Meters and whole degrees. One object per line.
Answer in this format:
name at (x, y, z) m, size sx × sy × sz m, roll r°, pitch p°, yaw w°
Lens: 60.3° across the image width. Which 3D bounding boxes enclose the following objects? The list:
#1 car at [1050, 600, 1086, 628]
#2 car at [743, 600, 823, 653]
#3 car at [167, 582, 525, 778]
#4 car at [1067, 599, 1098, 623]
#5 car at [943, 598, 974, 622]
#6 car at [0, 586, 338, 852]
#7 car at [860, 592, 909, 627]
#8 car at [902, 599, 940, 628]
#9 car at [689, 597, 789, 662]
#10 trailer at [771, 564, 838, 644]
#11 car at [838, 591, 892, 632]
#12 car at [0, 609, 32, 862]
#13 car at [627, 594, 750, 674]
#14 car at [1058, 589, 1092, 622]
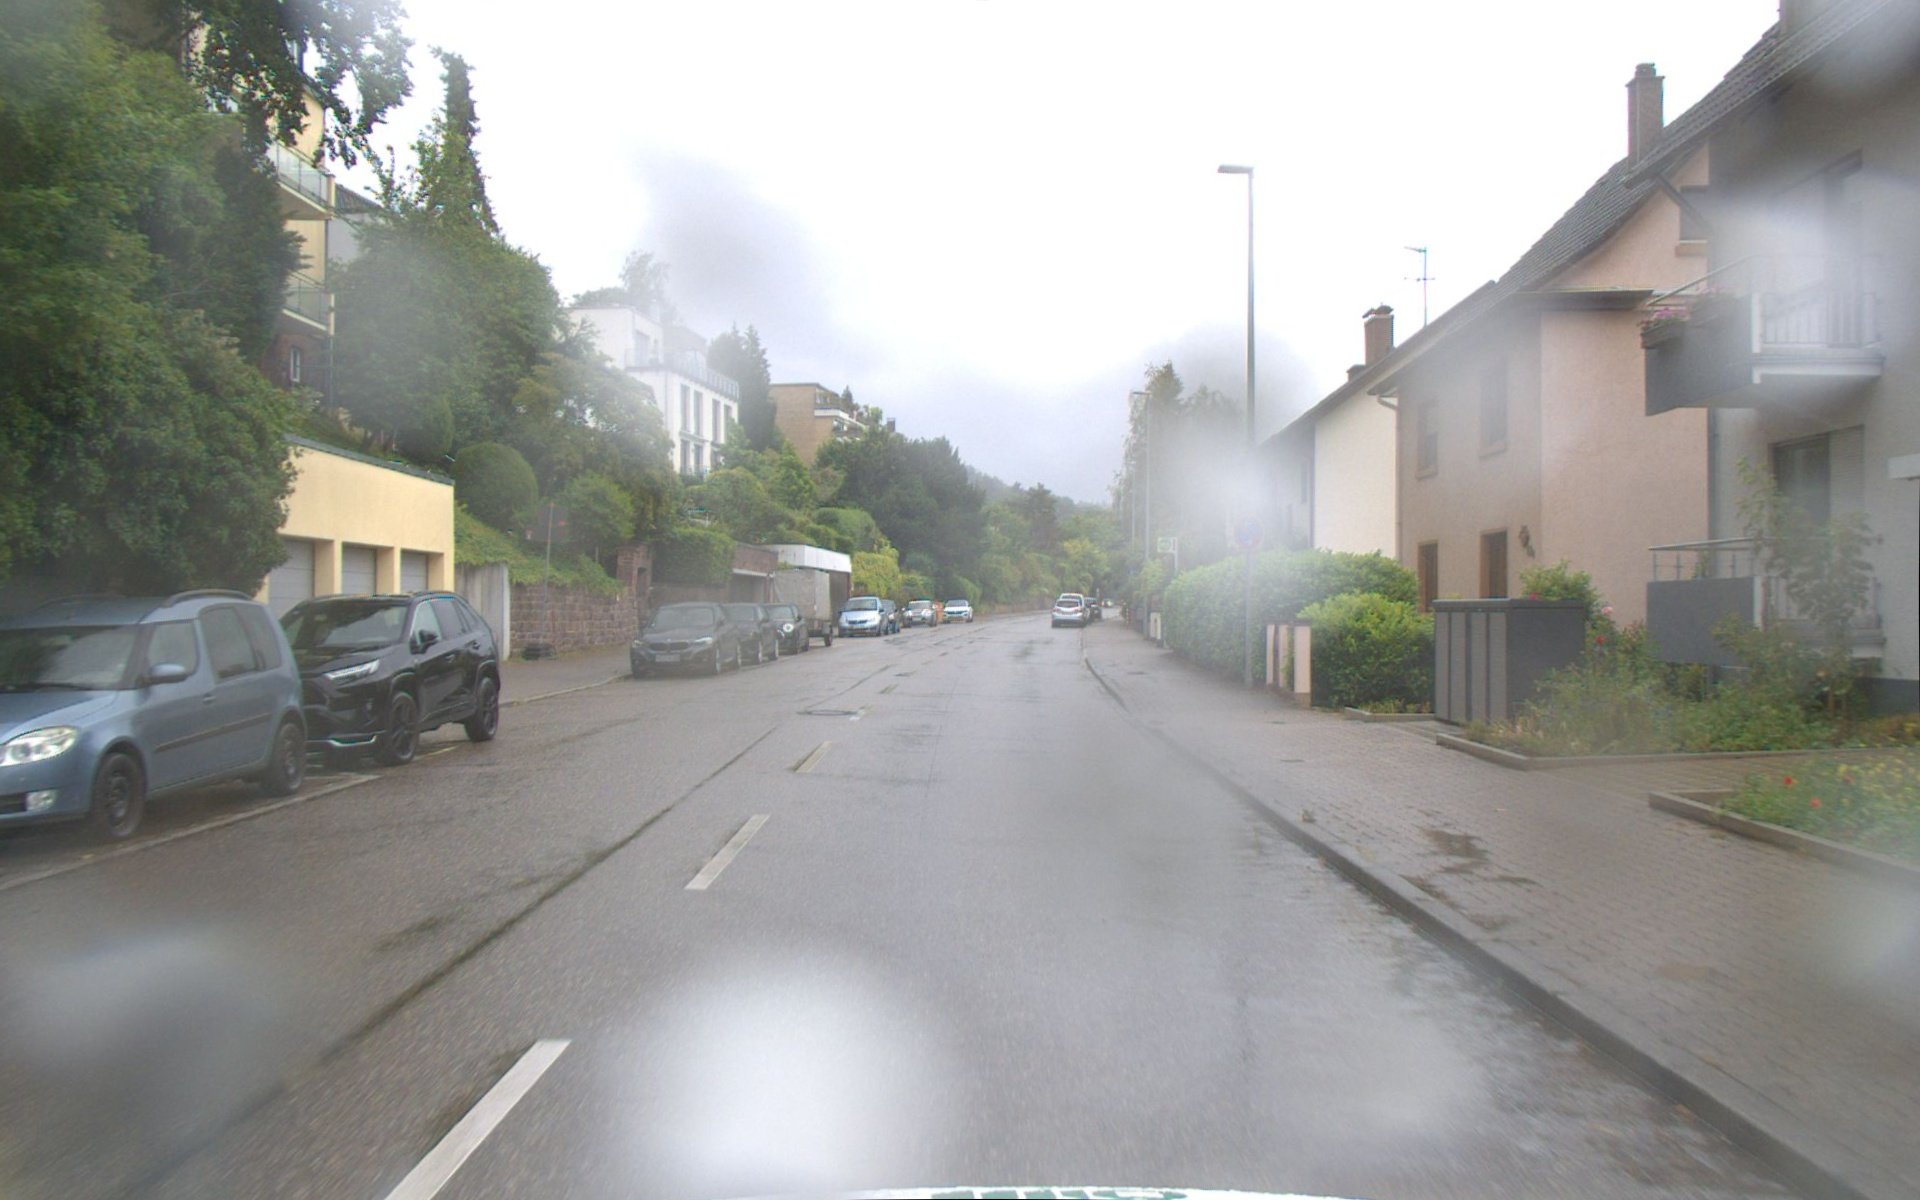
car at (5.933, 0.737, 90.507) m, size 1.751 × 1.485 × 4.311 m, roll 0°, pitch 0°, yaw 7°
car at (-5.066, 0.739, 47.749) m, size 1.770 × 1.373 × 3.777 m, roll -1°, pitch 1°, yaw 2°
car at (-6.089, 0.689, 17.061) m, size 1.836 × 1.654 × 4.594 m, roll -3°, pitch 1°, yaw 1°
car at (7.646, 0.670, 102.926) m, size 1.673 × 1.428 × 4.206 m, roll 0°, pitch 0°, yaw 7°
car at (-0.094, 0.671, 109.807) m, size 1.719 × 1.524 × 4.222 m, roll -1°, pitch 0°, yaw 4°
car at (-6.226, 0.731, 12.006) m, size 1.705 × 1.588 × 4.110 m, roll -2°, pitch 0°, yaw 2°
car at (-3.333, 0.395, 73.454) m, size 1.719 × 1.433 × 3.706 m, roll -3°, pitch 0°, yaw 3°
car at (-2.130, 0.725, 90.578) m, size 1.719 × 1.427 × 3.772 m, roll -2°, pitch 0°, yaw 4°
car at (-5.433, 0.699, 41.136) m, size 1.748 × 1.440 × 4.218 m, roll -1°, pitch 1°, yaw 2°
trailer at (-5.000, 0.119, 53.493) m, size 1.504 × 2.441 × 3.075 m, roll -2°, pitch 0°, yaw 5°
car at (-3.870, 0.449, 67.968) m, size 1.719 × 1.566 × 3.758 m, roll -3°, pitch 0°, yaw 3°
car at (-6.114, 0.810, 7.401) m, size 1.682 × 1.389 × 4.082 m, roll -2°, pitch 1°, yaw -2°
car at (-5.724, 0.672, 35.413) m, size 1.749 × 1.480 × 4.756 m, roll -2°, pitch 1°, yaw 0°
car at (6.728, 0.315, 96.222) m, size 1.746 × 1.822 × 4.364 m, roll 0°, pitch 0°, yaw 7°
